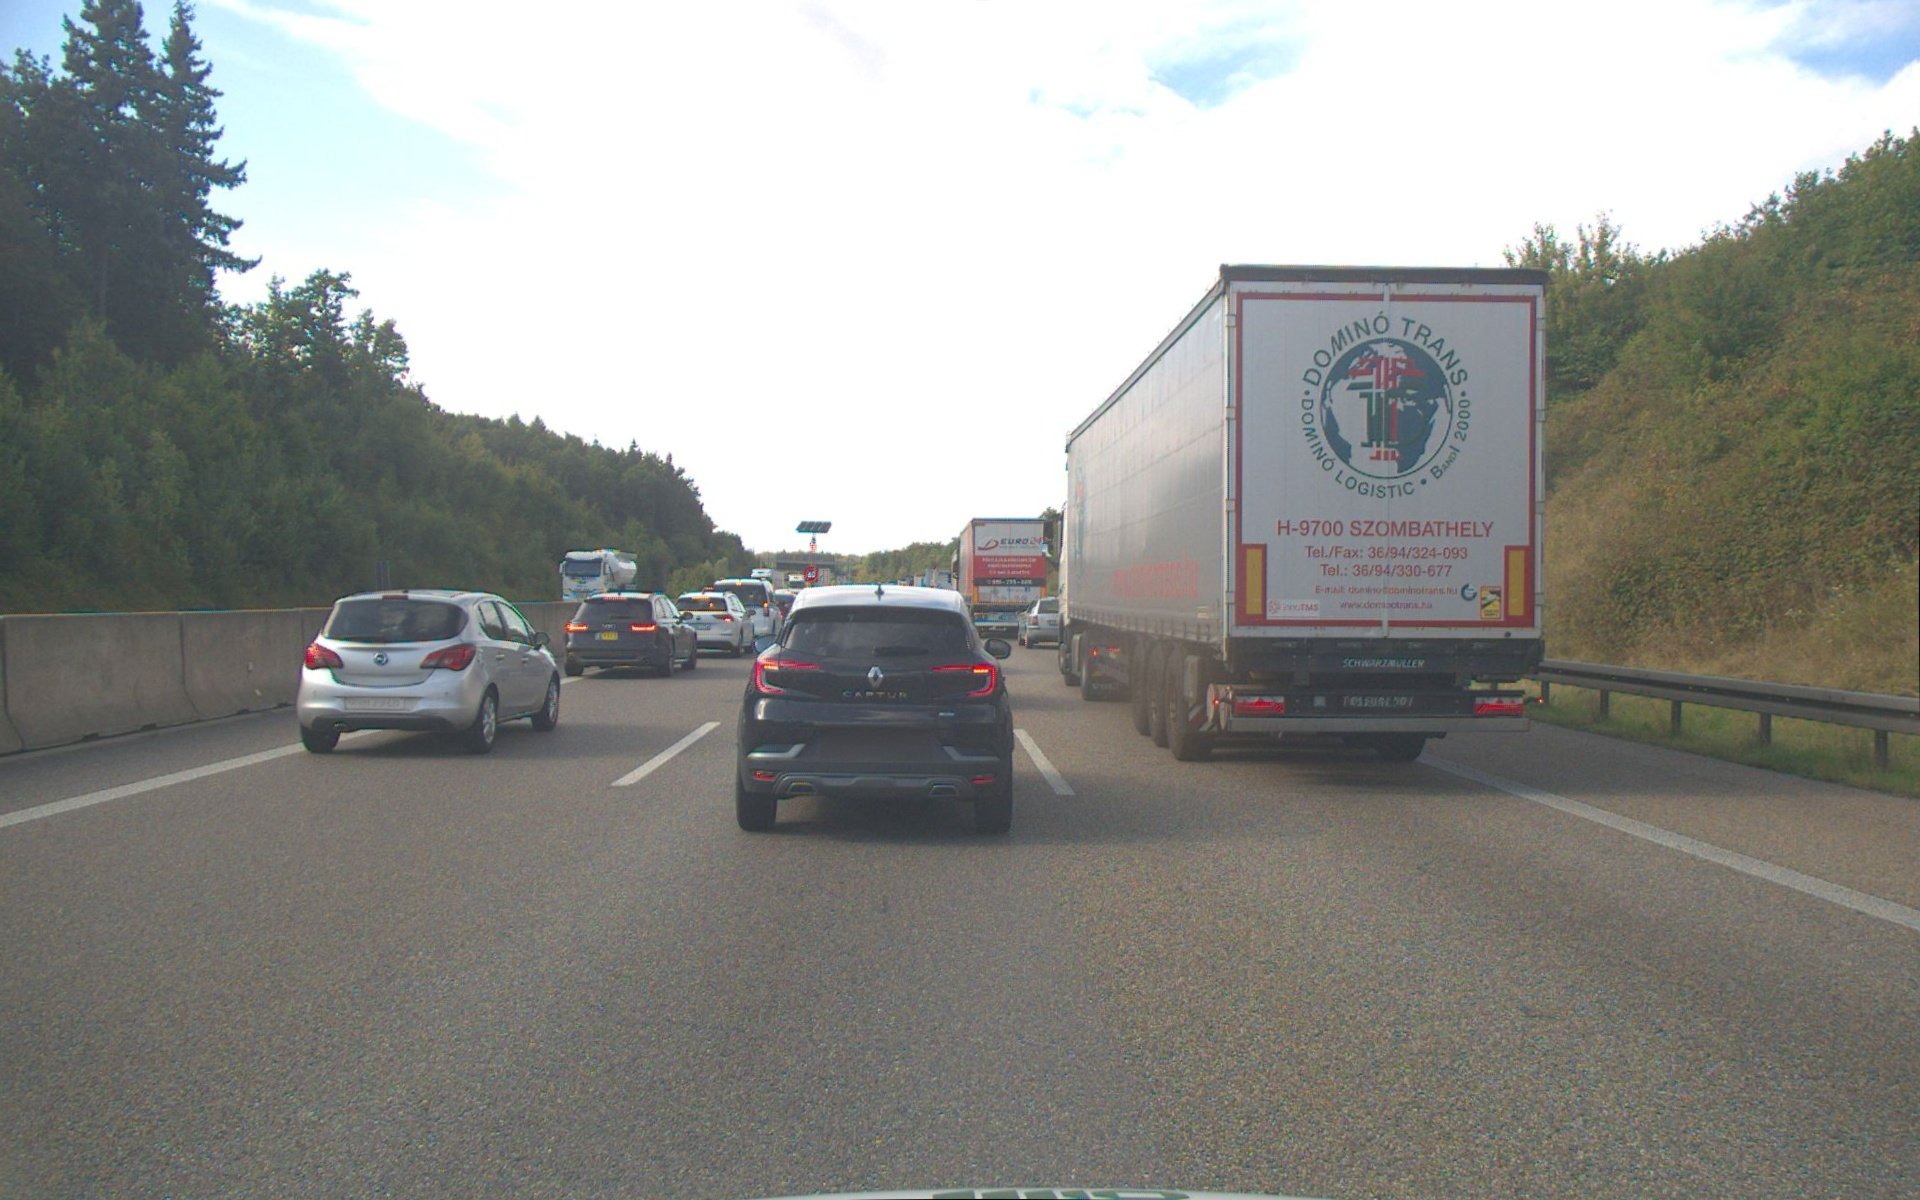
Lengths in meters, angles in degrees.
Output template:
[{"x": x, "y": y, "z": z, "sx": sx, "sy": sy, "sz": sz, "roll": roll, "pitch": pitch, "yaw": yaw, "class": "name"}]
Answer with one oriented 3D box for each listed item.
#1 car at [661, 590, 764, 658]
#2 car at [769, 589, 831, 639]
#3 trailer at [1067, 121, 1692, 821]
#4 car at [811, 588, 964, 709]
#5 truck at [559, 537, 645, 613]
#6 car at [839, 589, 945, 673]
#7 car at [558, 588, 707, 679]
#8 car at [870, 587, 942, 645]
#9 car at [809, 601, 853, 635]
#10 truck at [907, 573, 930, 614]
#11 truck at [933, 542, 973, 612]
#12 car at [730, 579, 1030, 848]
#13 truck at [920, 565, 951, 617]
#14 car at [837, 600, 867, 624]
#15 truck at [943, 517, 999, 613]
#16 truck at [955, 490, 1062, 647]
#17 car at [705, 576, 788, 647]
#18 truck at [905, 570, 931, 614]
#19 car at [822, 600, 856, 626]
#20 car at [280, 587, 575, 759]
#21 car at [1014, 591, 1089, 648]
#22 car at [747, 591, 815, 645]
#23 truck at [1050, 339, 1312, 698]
[{"x": -5.716, "y": 0.532, "z": 38.589, "sx": 1.768, "sy": 1.486, "sz": 4.308, "roll": 1, "pitch": 0, "yaw": -1, "class": "car"}, {"x": -5.809, "y": 0.511, "z": 60.458, "sx": 1.953, "sy": 1.752, "sz": 3.999, "roll": 1, "pitch": 0, "yaw": -1, "class": "car"}, {"x": 3.319, "y": -0.912, "z": 17.970, "sx": 2.941, "sy": 4.742, "sz": 13.285, "roll": 1, "pitch": 0, "yaw": -2, "class": "trailer"}, {"x": -0.975, "y": 0.638, "z": 23.445, "sx": 1.953, "sy": 1.540, "sz": 3.999, "roll": 1, "pitch": 0, "yaw": -1, "class": "car"}, {"x": -22.521, "y": -1.445, "z": 104.829, "sx": 2.873, "sy": 4.430, "sz": 13.904, "roll": 1, "pitch": 0, "yaw": -2, "class": "truck"}, {"x": -1.312, "y": 0.586, "z": 32.915, "sx": 1.953, "sy": 1.540, "sz": 3.999, "roll": 1, "pitch": 0, "yaw": -1, "class": "car"}, {"x": -5.807, "y": 0.550, "z": 29.857, "sx": 1.805, "sy": 1.481, "sz": 4.746, "roll": 1, "pitch": 0, "yaw": -1, "class": "car"}, {"x": -1.513, "y": 0.451, "z": 47.087, "sx": 1.953, "sy": 1.540, "sz": 3.999, "roll": 1, "pitch": 0, "yaw": -1, "class": "car"}, {"x": -6.425, "y": 0.873, "z": 82.539, "sx": 1.953, "sy": 1.641, "sz": 3.999, "roll": 1, "pitch": 0, "yaw": -1, "class": "car"}, {"x": -5.827, "y": -0.883, "z": 235.864, "sx": 3.102, "sy": 5.601, "sz": 12.734, "roll": 1, "pitch": 0, "yaw": -1, "class": "truck"}, {"x": -0.528, "y": -1.816, "z": 140.000, "sx": 3.101, "sy": 5.601, "sz": 12.737, "roll": 1, "pitch": 0, "yaw": 1, "class": "truck"}, {"x": -0.448, "y": 0.672, "z": 11.804, "sx": 1.767, "sy": 1.579, "sz": 4.000, "roll": 0, "pitch": 0, "yaw": 1, "class": "car"}, {"x": -2.582, "y": -0.912, "z": 174.981, "sx": 3.102, "sy": 5.250, "sz": 12.734, "roll": 1, "pitch": 0, "yaw": -1, "class": "truck"}, {"x": -7.840, "y": 0.868, "z": 120.513, "sx": 1.953, "sy": 1.641, "sz": 3.999, "roll": 1, "pitch": 0, "yaw": -1, "class": "car"}, {"x": 0.579, "y": -2.024, "z": 103.575, "sx": 3.102, "sy": 5.601, "sz": 12.734, "roll": 1, "pitch": 0, "yaw": -1, "class": "truck"}, {"x": 1.582, "y": -1.021, "z": 60.986, "sx": 3.296, "sy": 5.132, "sz": 12.734, "roll": 1, "pitch": 0, "yaw": -1, "class": "truck"}, {"x": -5.843, "y": 0.315, "z": 45.631, "sx": 1.873, "sy": 1.821, "sz": 4.415, "roll": 1, "pitch": 0, "yaw": -3, "class": "car"}, {"x": -5.451, "y": -0.958, "z": 217.389, "sx": 3.102, "sy": 5.601, "sz": 12.734, "roll": 1, "pitch": 0, "yaw": -1, "class": "truck"}, {"x": -7.874, "y": 0.815, "z": 108.005, "sx": 1.953, "sy": 1.641, "sz": 3.999, "roll": 1, "pitch": 0, "yaw": -1, "class": "car"}, {"x": -5.083, "y": 0.616, "z": 16.368, "sx": 1.711, "sy": 1.491, "sz": 4.039, "roll": 0, "pitch": 0, "yaw": -2, "class": "car"}, {"x": 2.617, "y": 0.560, "z": 48.099, "sx": 1.768, "sy": 1.559, "sz": 3.923, "roll": 1, "pitch": 0, "yaw": -3, "class": "car"}, {"x": -5.764, "y": 0.570, "z": 53.661, "sx": 1.818, "sy": 1.669, "sz": 3.925, "roll": 1, "pitch": 0, "yaw": -1, "class": "car"}, {"x": 3.113, "y": -1.093, "z": 25.002, "sx": 2.937, "sy": 4.749, "sz": 5.937, "roll": 1, "pitch": 0, "yaw": -2, "class": "truck"}]
